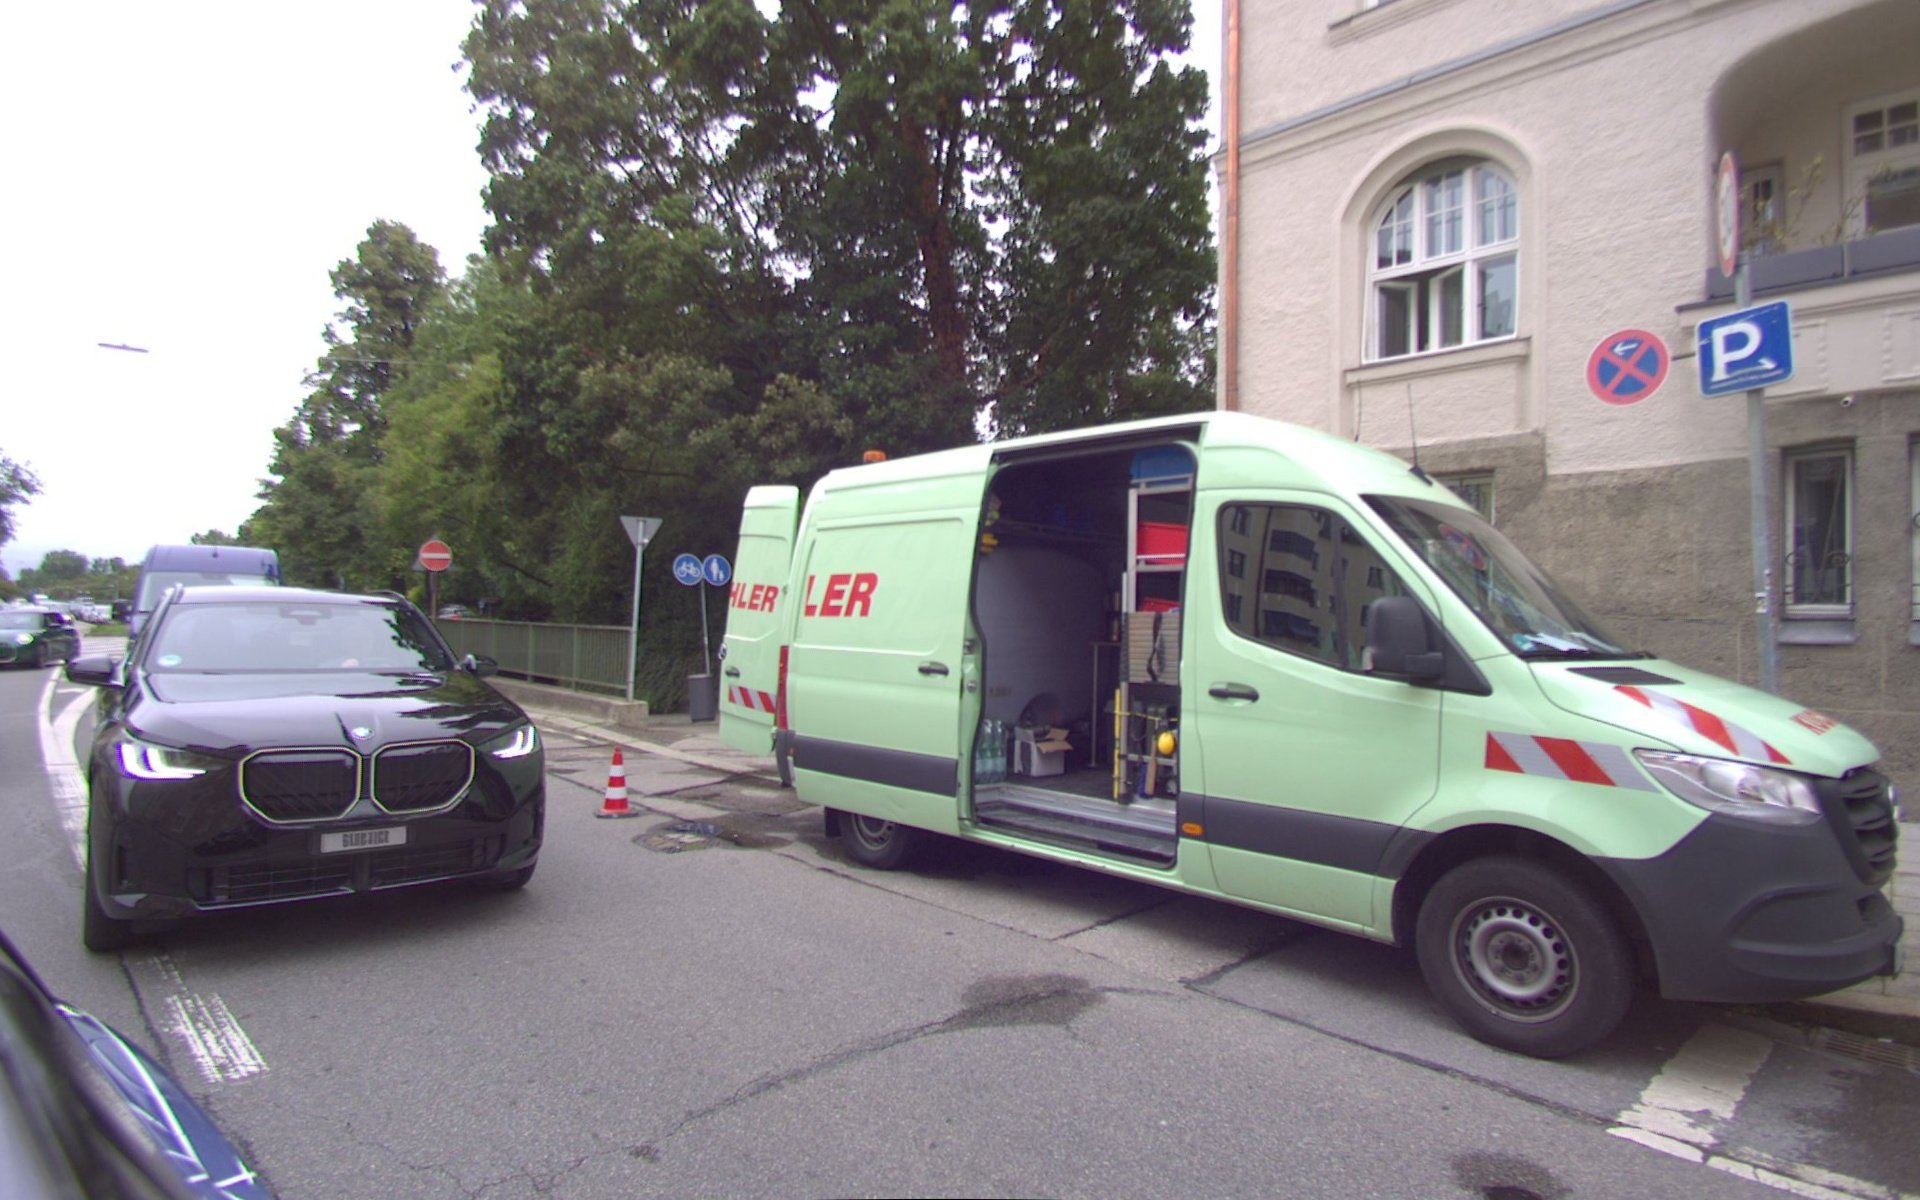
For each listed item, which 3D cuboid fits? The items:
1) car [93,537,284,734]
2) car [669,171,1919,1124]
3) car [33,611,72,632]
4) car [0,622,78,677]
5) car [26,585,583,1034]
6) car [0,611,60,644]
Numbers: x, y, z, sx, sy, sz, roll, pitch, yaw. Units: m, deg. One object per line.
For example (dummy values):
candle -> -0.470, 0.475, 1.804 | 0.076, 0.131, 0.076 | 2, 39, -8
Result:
car -> -11.944, 0.467, 16.005 | 1.974, 2.510, 6.249 | 1, -1, -34
car -> 0.987, 0.191, 5.876 | 6.798, 2.592, 2.116 | -1, -2, 45
car -> -65.008, 1.515, 72.551 | 1.810, 1.409, 4.007 | 3, -3, -39
car -> -22.946, 1.165, 24.684 | 1.471, 1.223, 3.622 | 1, -1, -30
car -> -3.903, 0.776, 5.842 | 1.892, 1.577, 4.301 | 3, -2, -40
car -> -48.524, 1.421, 52.853 | 1.968, 1.608, 4.007 | 3, -3, -39
